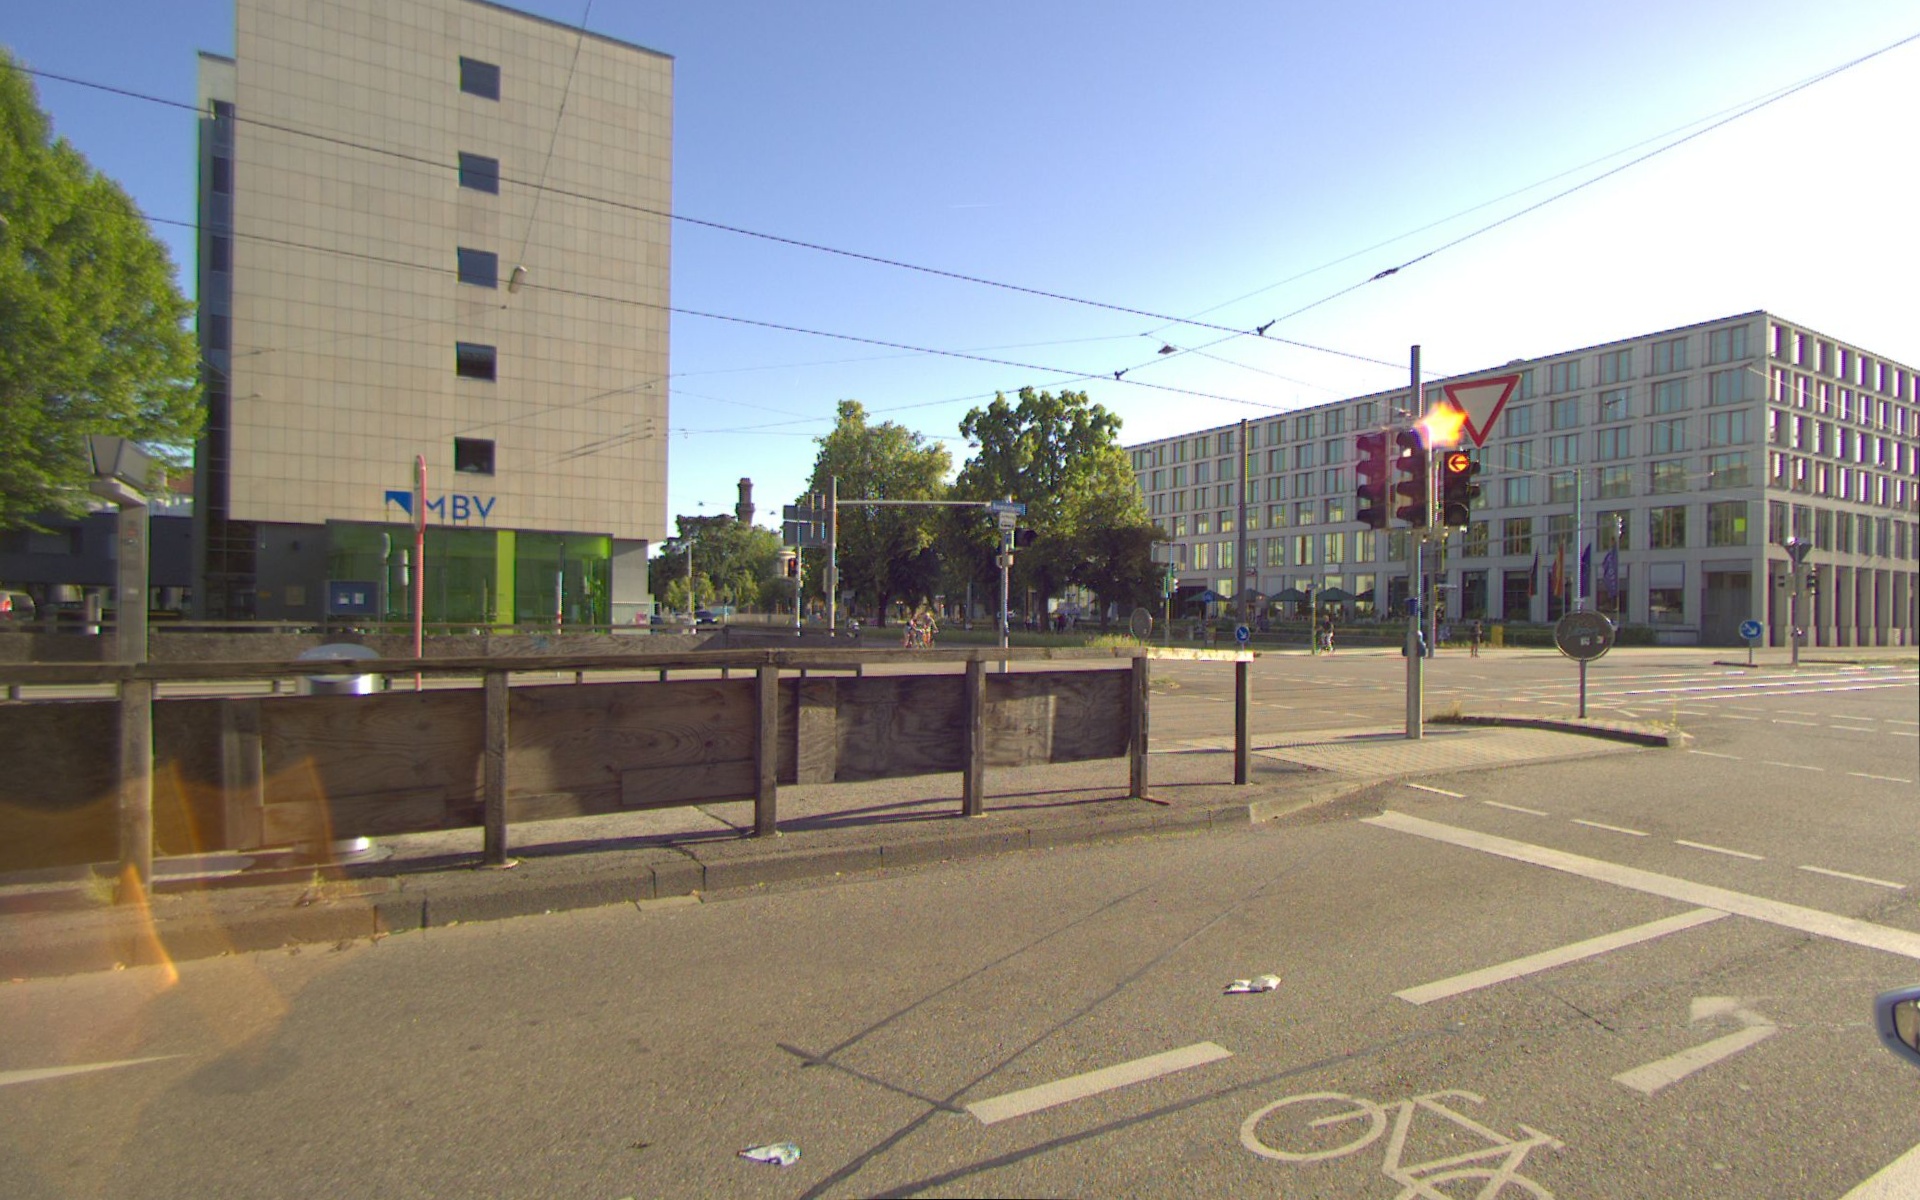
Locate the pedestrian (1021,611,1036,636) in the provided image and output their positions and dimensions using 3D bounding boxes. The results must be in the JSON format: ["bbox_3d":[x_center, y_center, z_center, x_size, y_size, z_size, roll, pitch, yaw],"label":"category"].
[{"bbox_3d":[5.418,1.834,79.653,0.863,1.925,0.713,2,0,-26],"label":"pedestrian"}]

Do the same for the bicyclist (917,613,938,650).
[{"bbox_3d":[-1.359,1.335,42.395,0.602,1.544,0.709,1,-1,-32],"label":"bicyclist"}]

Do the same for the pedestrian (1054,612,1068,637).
[{"bbox_3d":[7.753,1.893,77.104,0.861,1.925,0.714,2,0,-20],"label":"pedestrian"}]

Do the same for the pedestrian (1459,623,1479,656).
[{"bbox_3d":[24.874,1.930,49.089,0.766,1.610,0.588,0,-1,42],"label":"pedestrian"}]

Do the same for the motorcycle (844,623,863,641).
[{"bbox_3d":[-6.689,1.995,62.962,0.524,1.153,1.449,1,-1,-34],"label":"motorcycle"}]

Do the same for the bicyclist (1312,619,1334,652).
[{"bbox_3d":[17.847,1.717,49.412,0.763,1.610,0.761,0,-1,-6],"label":"bicyclist"}]

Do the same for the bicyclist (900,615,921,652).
[{"bbox_3d":[-2.060,1.387,41.911,0.647,1.544,0.615,1,-1,-32],"label":"bicyclist"}]

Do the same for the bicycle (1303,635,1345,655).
[{"bbox_3d":[17.900,2.204,49.399,1.829,0.947,0.762,1,-1,-8],"label":"bicycle"}]

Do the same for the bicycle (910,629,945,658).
[{"bbox_3d":[-1.383,1.822,42.414,0.616,1.148,1.869,1,-1,-31],"label":"bicycle"}]

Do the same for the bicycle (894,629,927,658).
[{"bbox_3d":[-2.065,1.790,41.934,0.574,1.148,1.776,1,-1,-31],"label":"bicycle"}]

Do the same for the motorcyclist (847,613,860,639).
[{"bbox_3d":[-6.678,1.607,62.932,0.561,1.598,0.642,1,-1,-35],"label":"motorcyclist"}]

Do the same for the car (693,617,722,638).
[{"bbox_3d":[-22.114,2.403,87.765,1.611,1.639,3.623,2,0,-28],"label":"car"}]

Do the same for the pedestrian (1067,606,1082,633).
[{"bbox_3d":[8.814,1.508,77.631,0.812,2.040,0.841,2,0,-20],"label":"pedestrian"}]

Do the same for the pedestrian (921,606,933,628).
[{"bbox_3d":[-3.172,1.637,95.812,0.816,2.040,0.837,2,0,-32],"label":"pedestrian"}]
